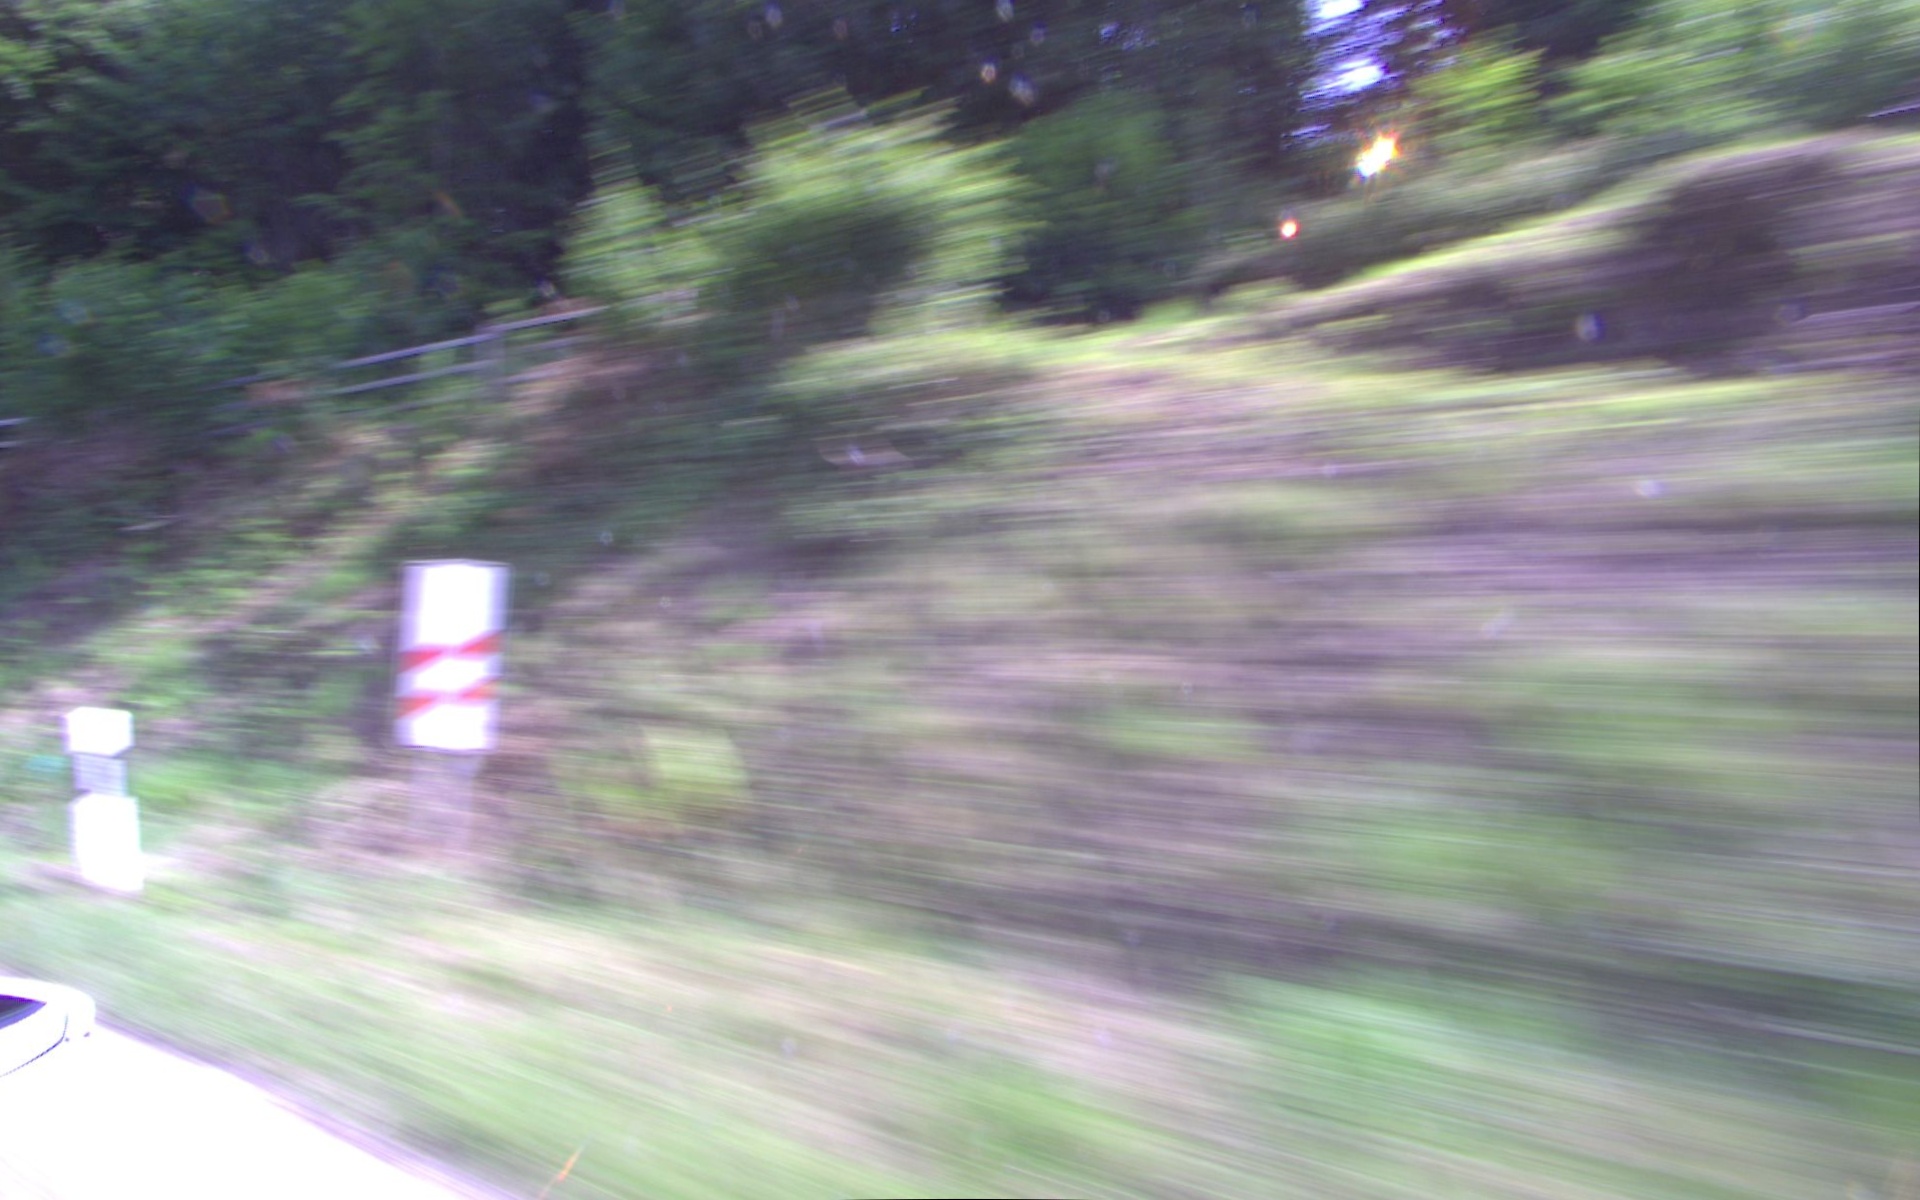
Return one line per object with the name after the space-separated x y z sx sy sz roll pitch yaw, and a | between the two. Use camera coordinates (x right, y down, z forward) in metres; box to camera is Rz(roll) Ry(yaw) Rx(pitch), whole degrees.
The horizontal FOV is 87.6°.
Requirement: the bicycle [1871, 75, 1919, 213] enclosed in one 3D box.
8.978 -4.068 8.625 1.574 0.926 0.622 1 -3 32 | bicycle
